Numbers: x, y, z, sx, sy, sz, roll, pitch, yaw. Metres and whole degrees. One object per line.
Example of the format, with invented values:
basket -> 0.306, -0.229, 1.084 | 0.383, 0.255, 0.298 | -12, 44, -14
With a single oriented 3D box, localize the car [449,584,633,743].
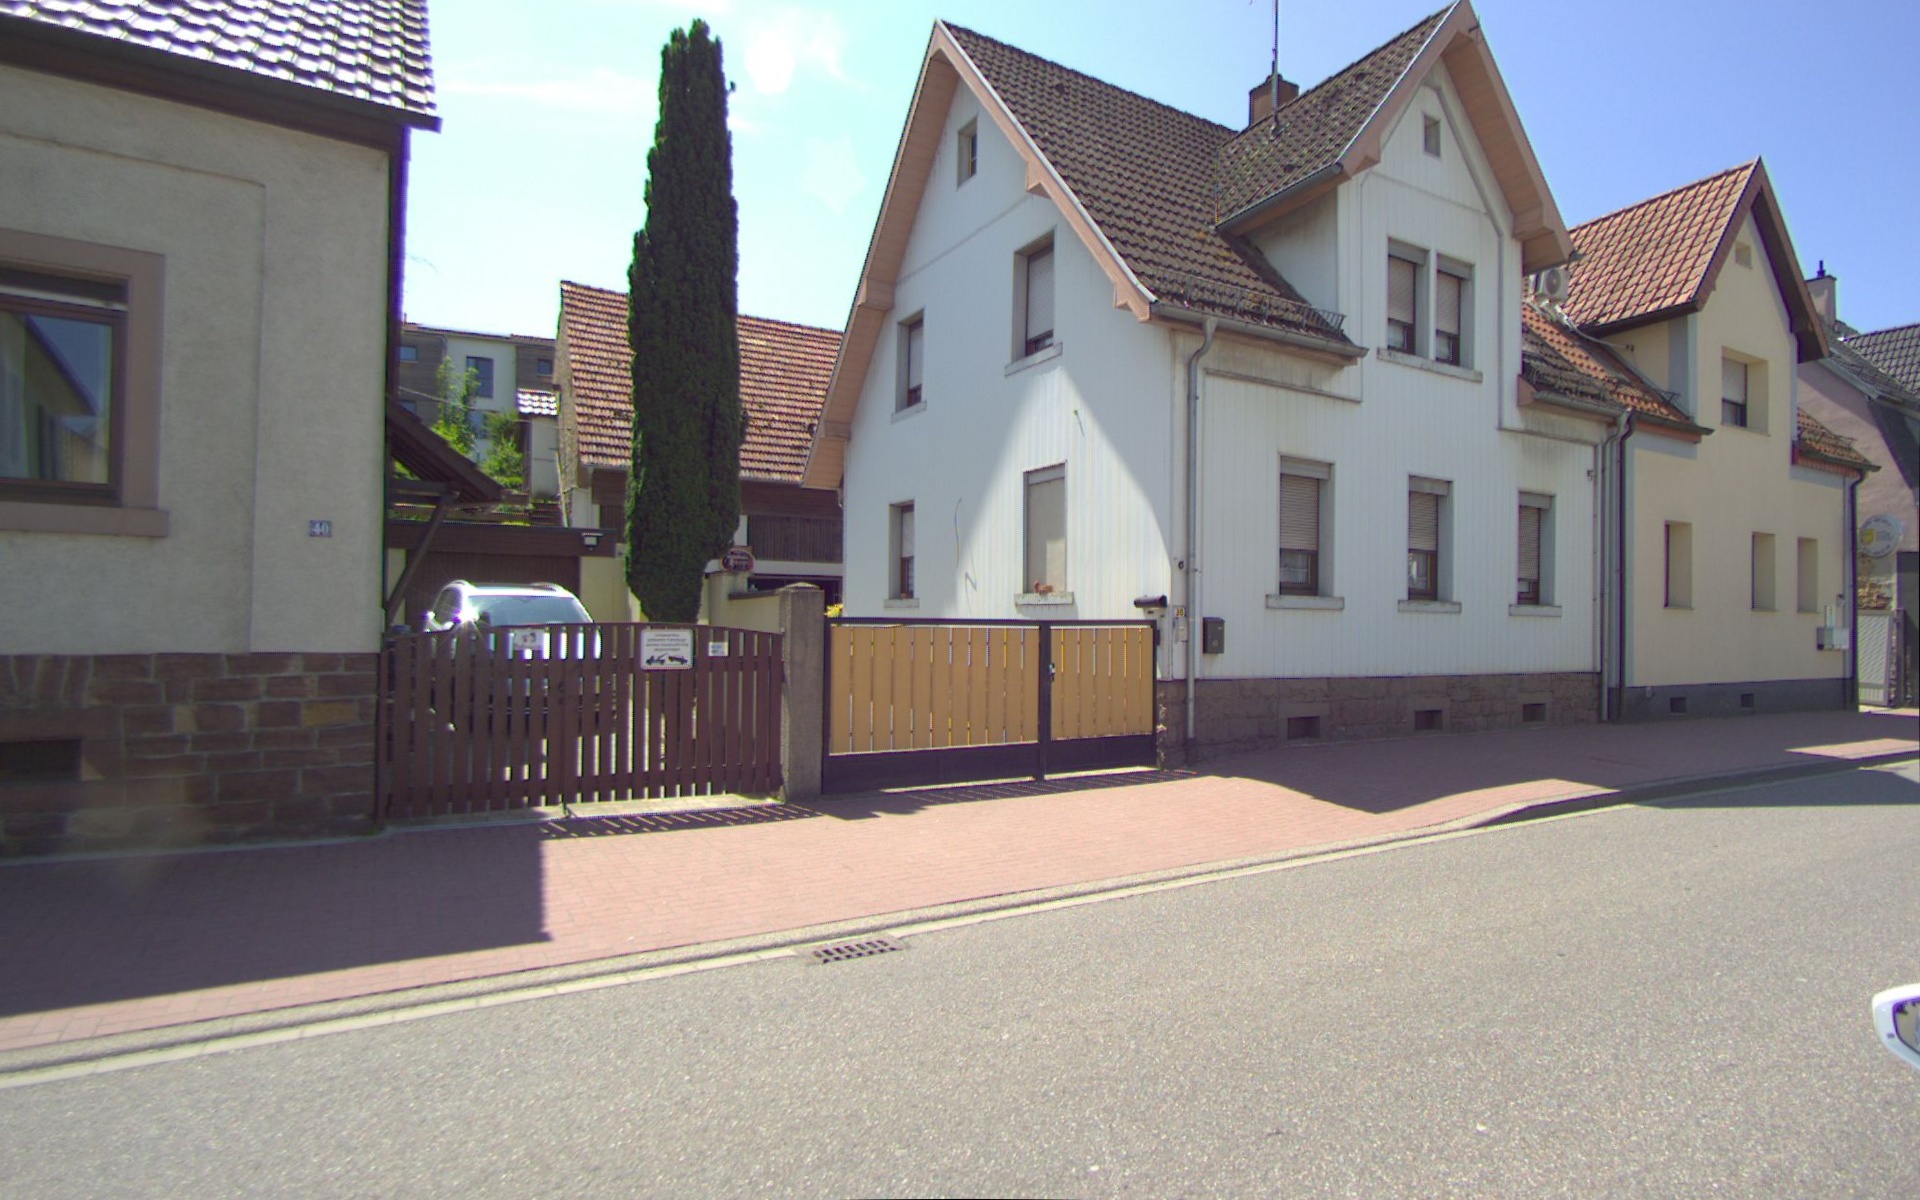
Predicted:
car -> -5.386, 0.696, 12.610 | 1.658, 1.641, 4.154 | 1, -1, -29
